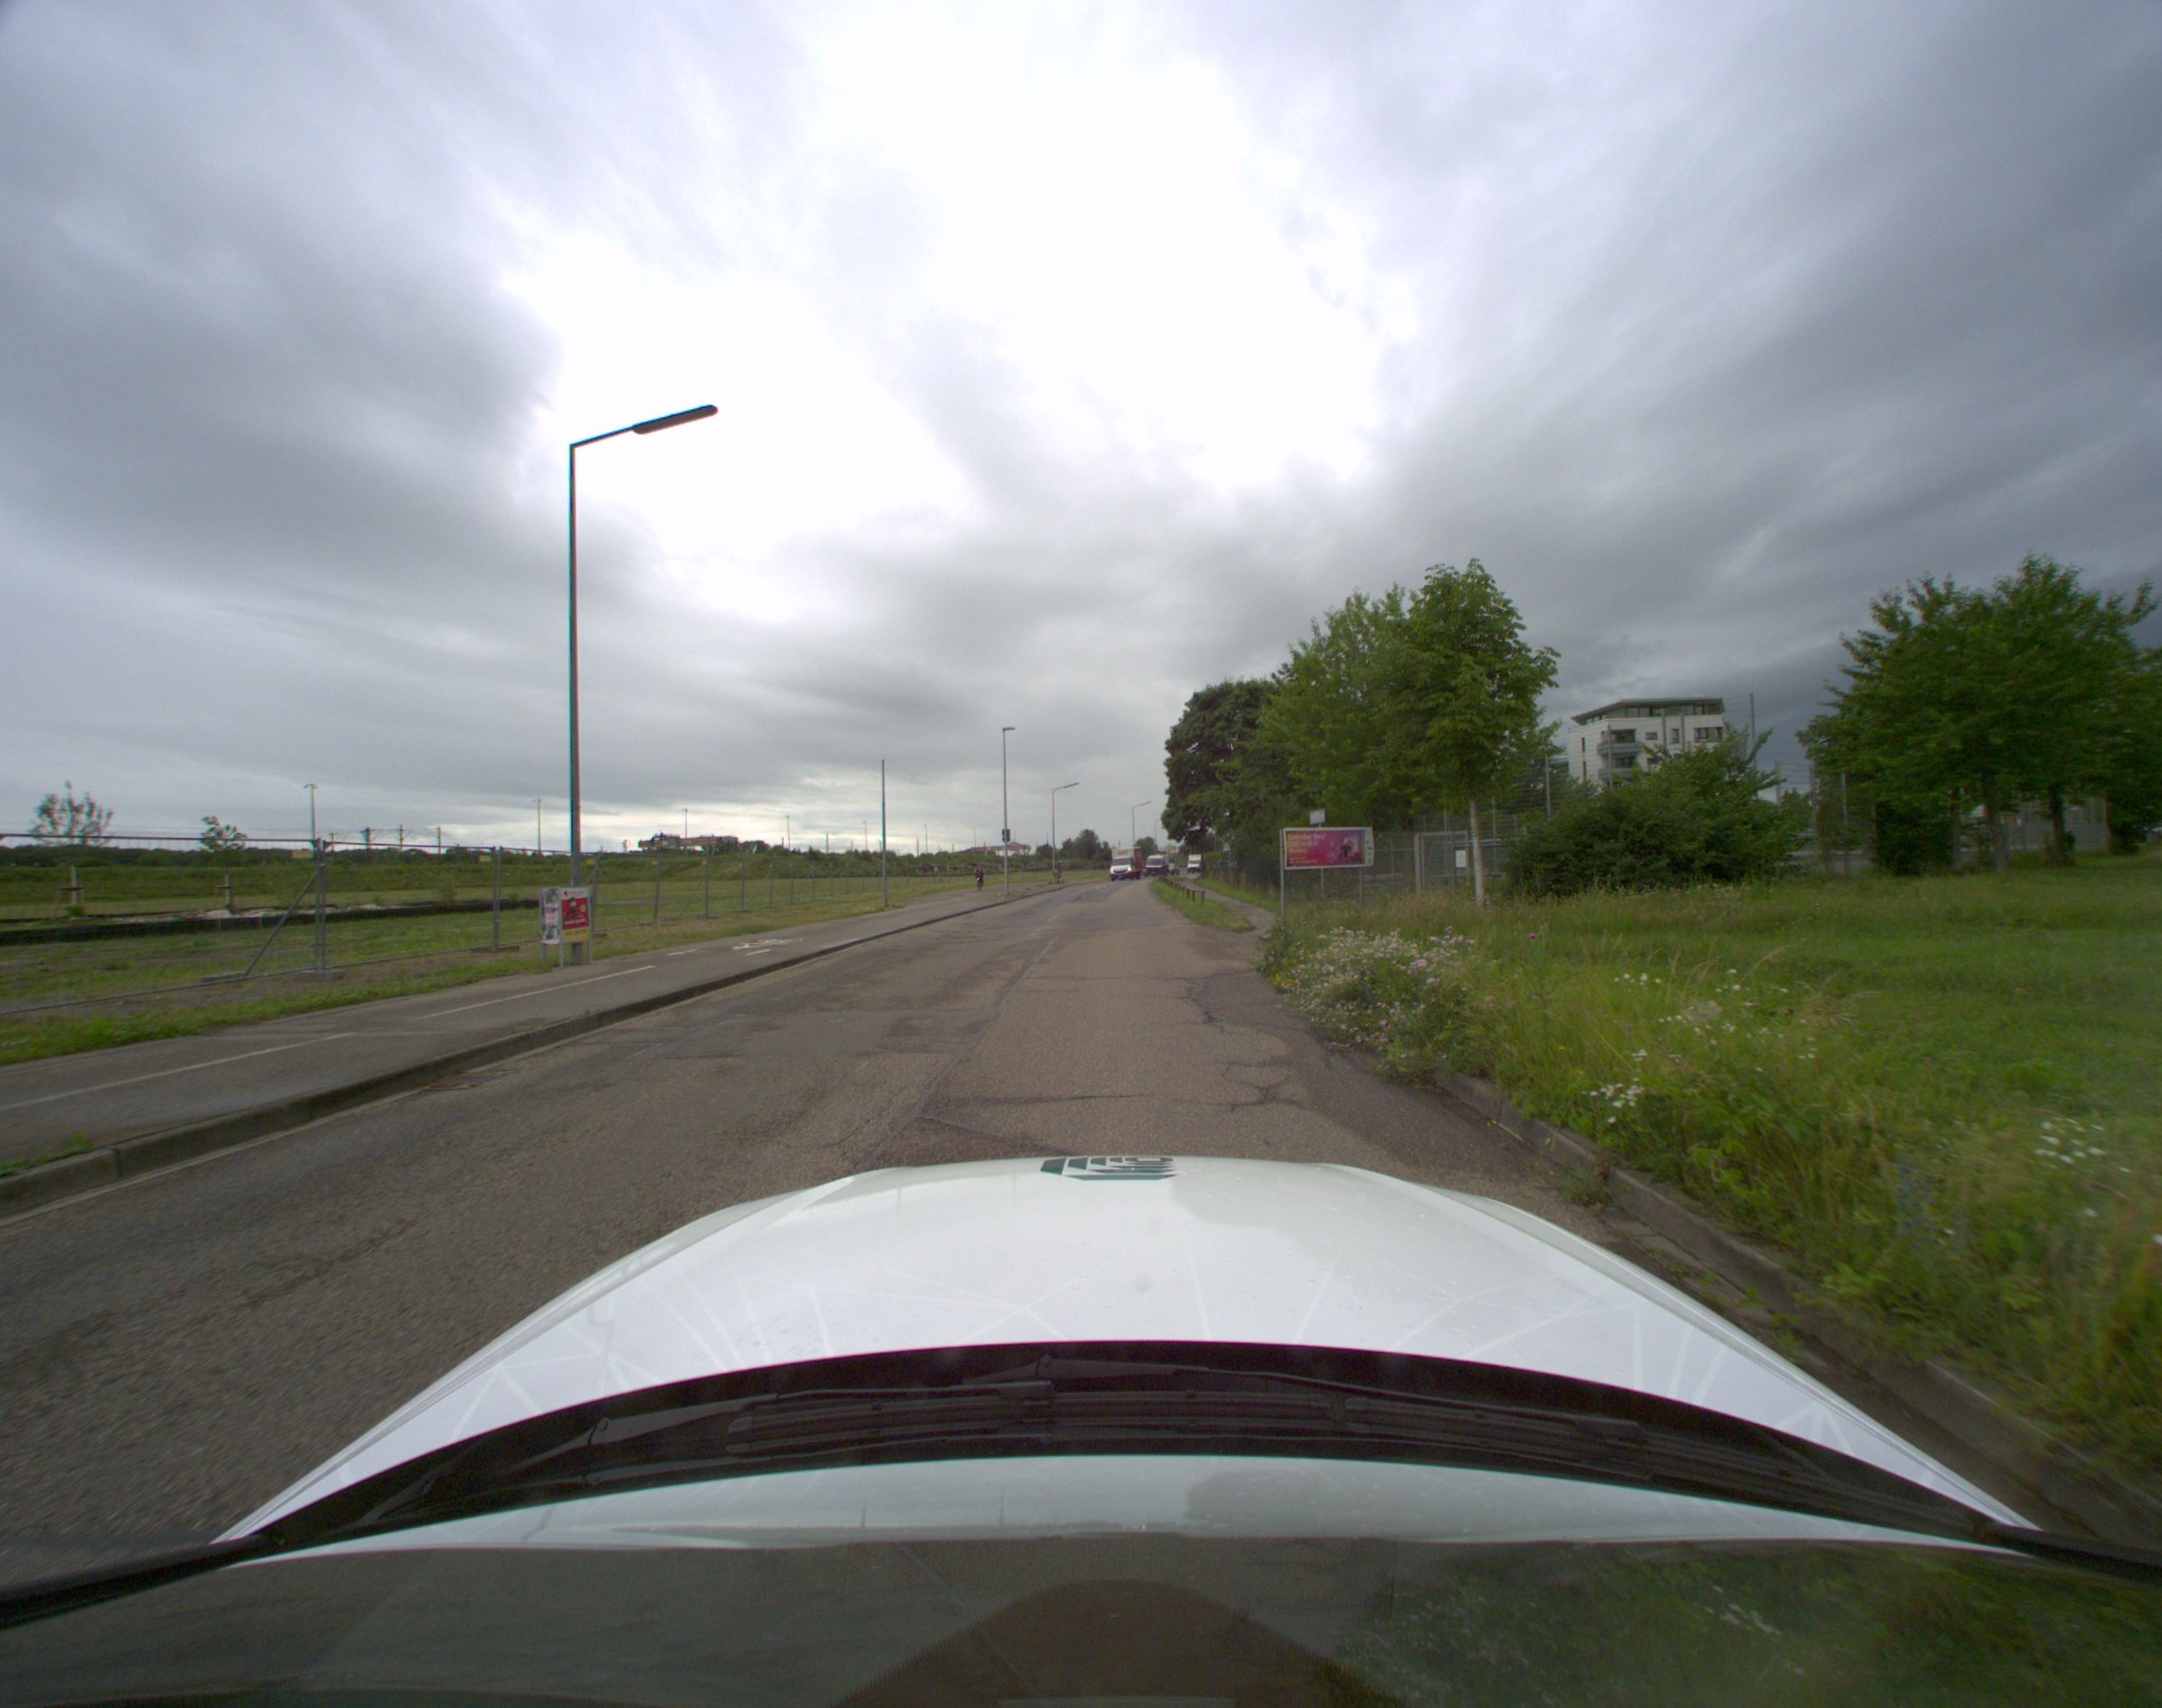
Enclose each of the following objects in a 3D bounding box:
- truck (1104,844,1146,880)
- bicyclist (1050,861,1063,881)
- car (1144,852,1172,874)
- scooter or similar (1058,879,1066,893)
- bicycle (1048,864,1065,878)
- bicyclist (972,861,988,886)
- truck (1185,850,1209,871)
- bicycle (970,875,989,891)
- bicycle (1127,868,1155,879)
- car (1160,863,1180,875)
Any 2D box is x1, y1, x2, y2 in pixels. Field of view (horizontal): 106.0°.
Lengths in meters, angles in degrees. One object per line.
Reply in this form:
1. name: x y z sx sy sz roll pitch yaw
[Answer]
1. truck: 4.191 0.700 75.989 2.324 3.062 7.524 -4 -1 13
2. bicyclist: -2.326 1.635 77.986 0.821 1.821 1.336 -2 0 16
3. car: 10.095 1.156 105.981 2.282 2.734 6.120 -2 0 18
4. scooter or similar: -1.726 2.839 73.303 0.606 1.183 1.703 0 -1 4
5. bicycle: -2.302 1.599 78.036 0.812 1.204 2.568 -2 0 17
6. bicyclist: -6.377 1.206 51.348 0.779 1.526 1.095 -2 0 3
7. truck: 18.821 1.018 132.033 2.442 3.060 8.200 -2 0 18
8. bicycle: -6.379 1.813 51.364 0.800 0.907 2.234 -2 0 3
9. bicycle: 7.223 2.348 98.046 3.096 1.199 1.371 -2 0 17
10. car: 12.361 2.103 112.953 1.765 1.505 4.020 -2 0 19
